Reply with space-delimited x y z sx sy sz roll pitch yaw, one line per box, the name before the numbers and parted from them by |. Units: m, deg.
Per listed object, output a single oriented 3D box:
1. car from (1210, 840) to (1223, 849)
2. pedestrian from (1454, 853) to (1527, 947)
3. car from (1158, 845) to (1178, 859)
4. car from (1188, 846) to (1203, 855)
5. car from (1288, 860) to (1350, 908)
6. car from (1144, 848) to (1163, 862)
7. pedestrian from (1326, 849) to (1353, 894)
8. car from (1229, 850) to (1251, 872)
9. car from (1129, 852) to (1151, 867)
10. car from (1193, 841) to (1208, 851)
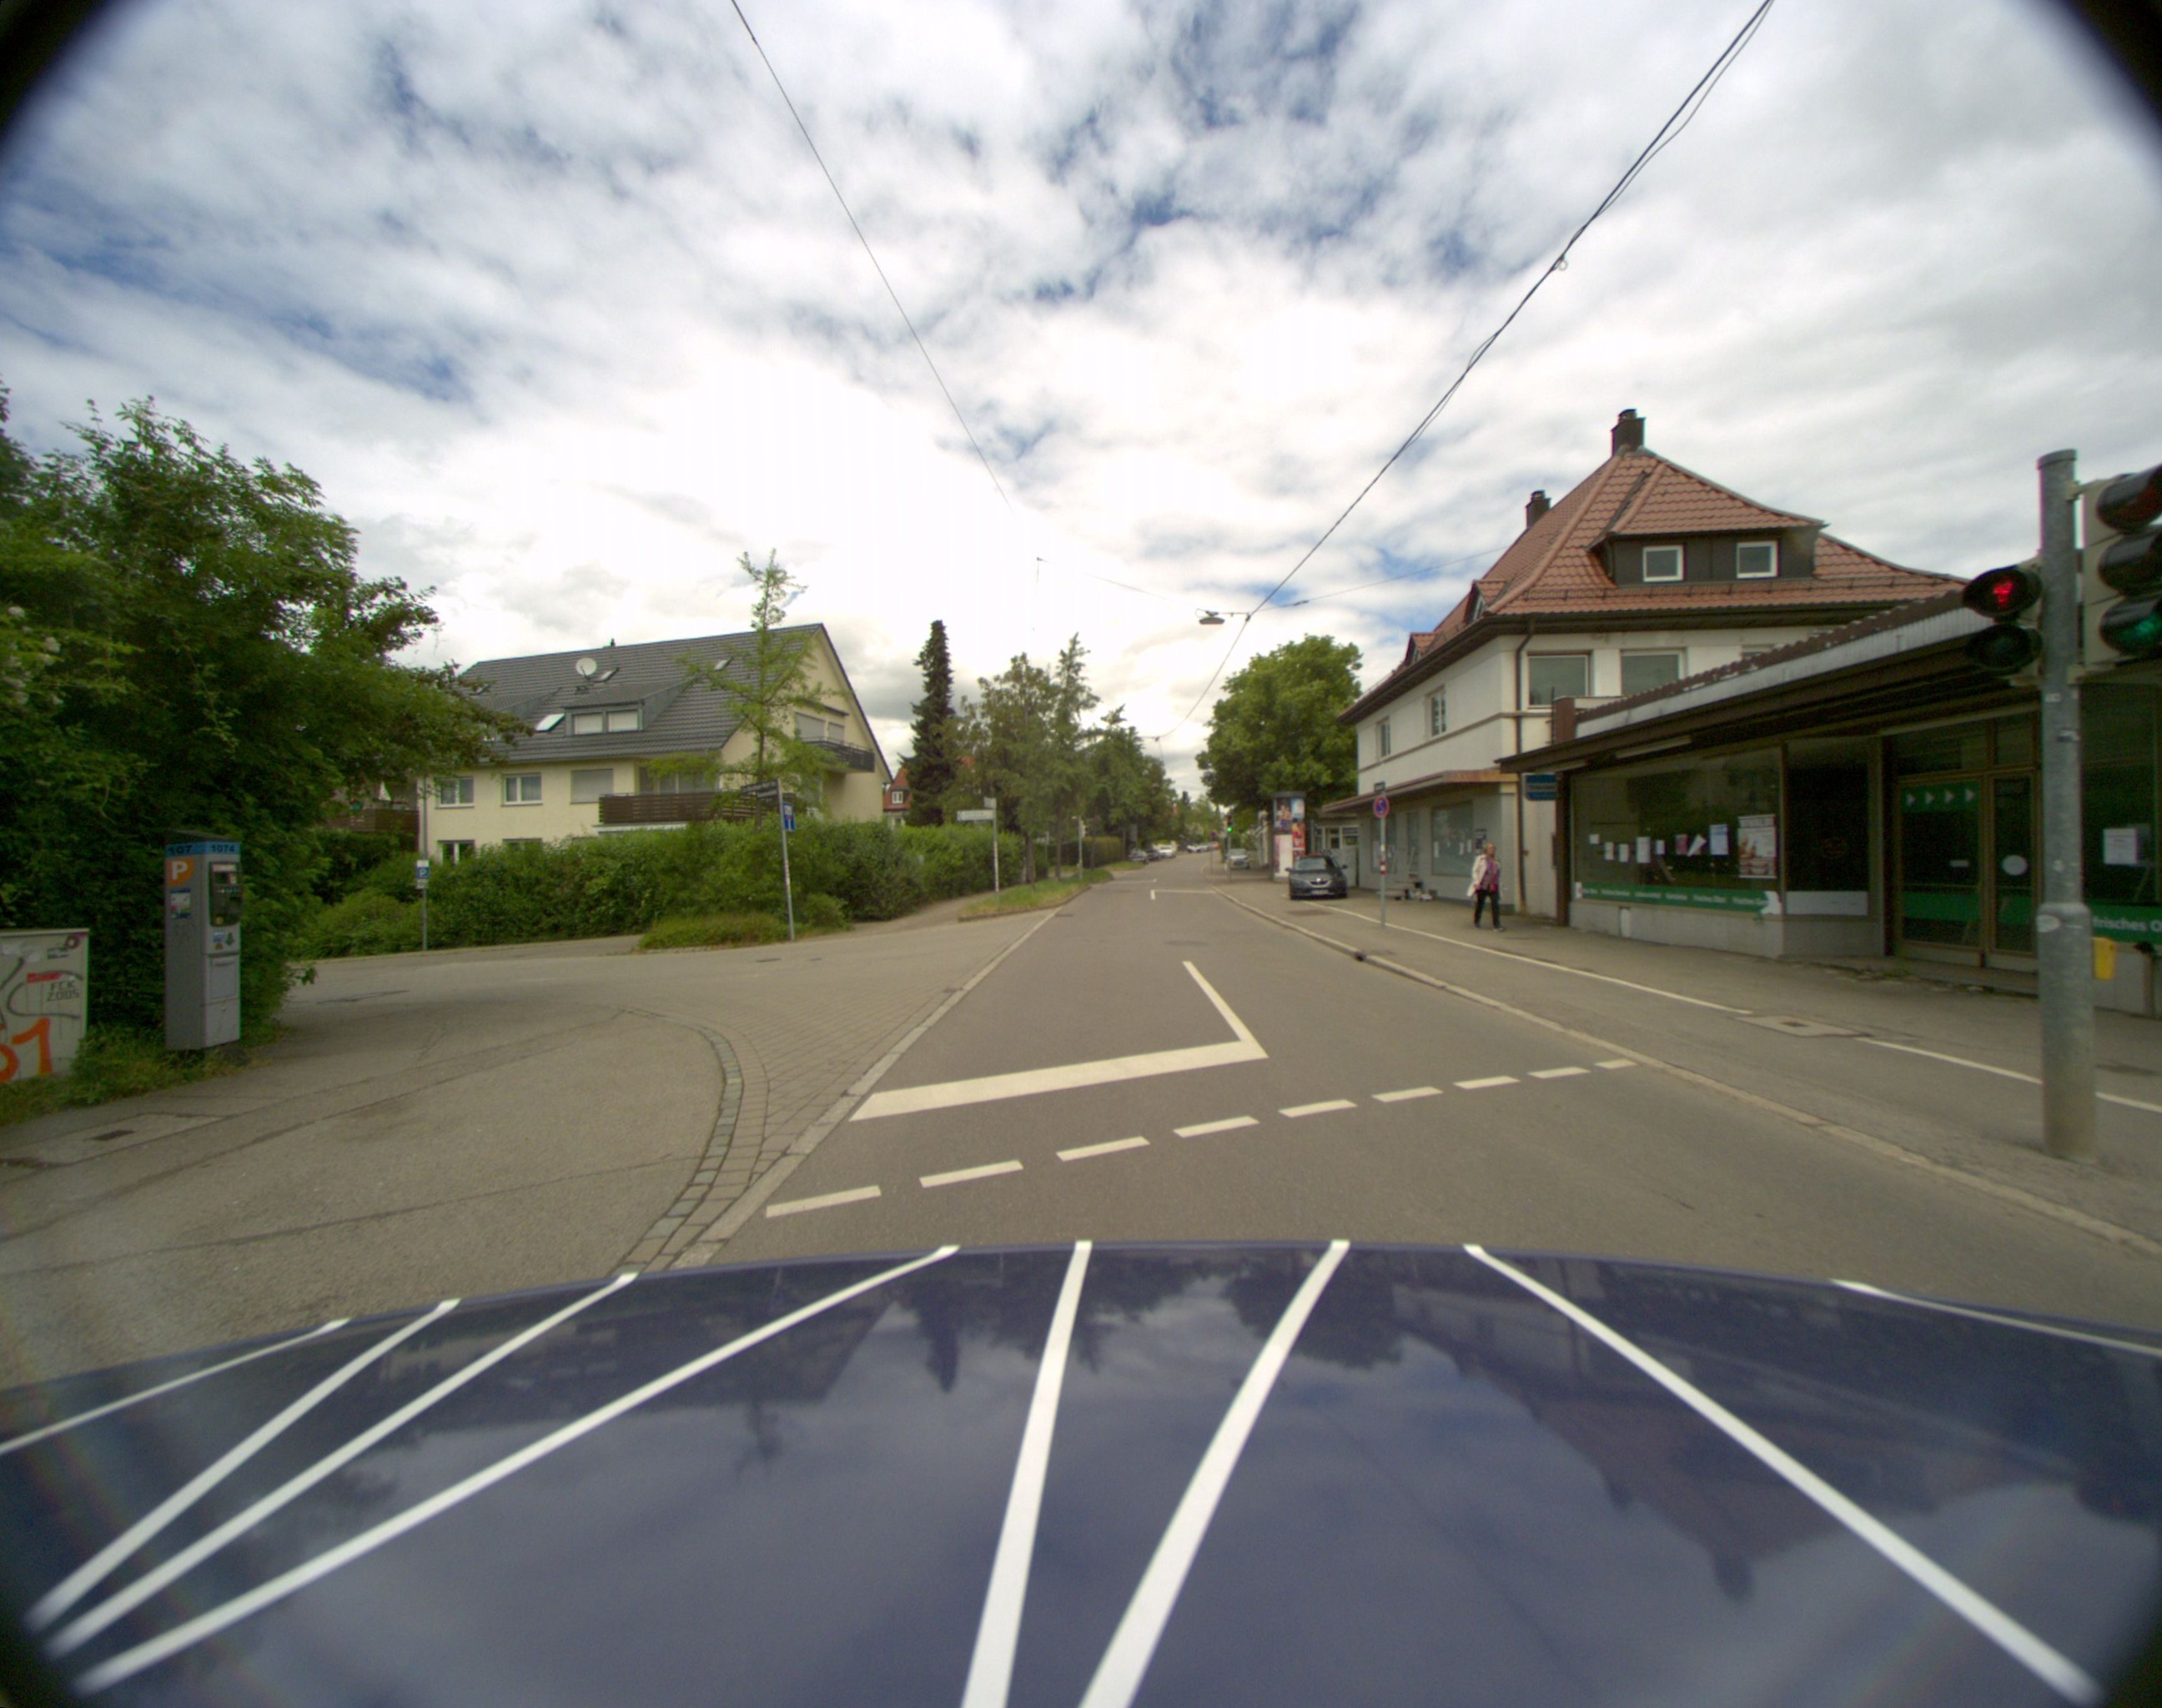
car | 25.914 -1.744 145.414 1.852 1.617 4.174 -2 1 17
pedestrian | 7.885 0.859 14.670 0.884 1.740 0.963 -1 1 1
car | 11.477 -0.273 99.905 1.868 1.675 4.354 -1 1 16
car | 18.926 -0.581 125.435 2.289 1.515 1.320 0 1 23
car | 8.145 0.975 26.323 1.782 1.433 4.530 -2 0 15
car | 8.490 0.096 89.235 1.712 1.479 3.793 -1 1 13
pedestrian | 10.127 0.689 29.769 0.887 1.708 0.762 -2 0 21
car | 12.360 0.524 59.102 1.591 1.529 2.926 -3 0 12
car | 6.120 0.525 78.280 1.712 1.404 3.793 -2 1 13
car | 20.953 -1.350 132.738 1.831 1.614 4.497 -1 1 18
